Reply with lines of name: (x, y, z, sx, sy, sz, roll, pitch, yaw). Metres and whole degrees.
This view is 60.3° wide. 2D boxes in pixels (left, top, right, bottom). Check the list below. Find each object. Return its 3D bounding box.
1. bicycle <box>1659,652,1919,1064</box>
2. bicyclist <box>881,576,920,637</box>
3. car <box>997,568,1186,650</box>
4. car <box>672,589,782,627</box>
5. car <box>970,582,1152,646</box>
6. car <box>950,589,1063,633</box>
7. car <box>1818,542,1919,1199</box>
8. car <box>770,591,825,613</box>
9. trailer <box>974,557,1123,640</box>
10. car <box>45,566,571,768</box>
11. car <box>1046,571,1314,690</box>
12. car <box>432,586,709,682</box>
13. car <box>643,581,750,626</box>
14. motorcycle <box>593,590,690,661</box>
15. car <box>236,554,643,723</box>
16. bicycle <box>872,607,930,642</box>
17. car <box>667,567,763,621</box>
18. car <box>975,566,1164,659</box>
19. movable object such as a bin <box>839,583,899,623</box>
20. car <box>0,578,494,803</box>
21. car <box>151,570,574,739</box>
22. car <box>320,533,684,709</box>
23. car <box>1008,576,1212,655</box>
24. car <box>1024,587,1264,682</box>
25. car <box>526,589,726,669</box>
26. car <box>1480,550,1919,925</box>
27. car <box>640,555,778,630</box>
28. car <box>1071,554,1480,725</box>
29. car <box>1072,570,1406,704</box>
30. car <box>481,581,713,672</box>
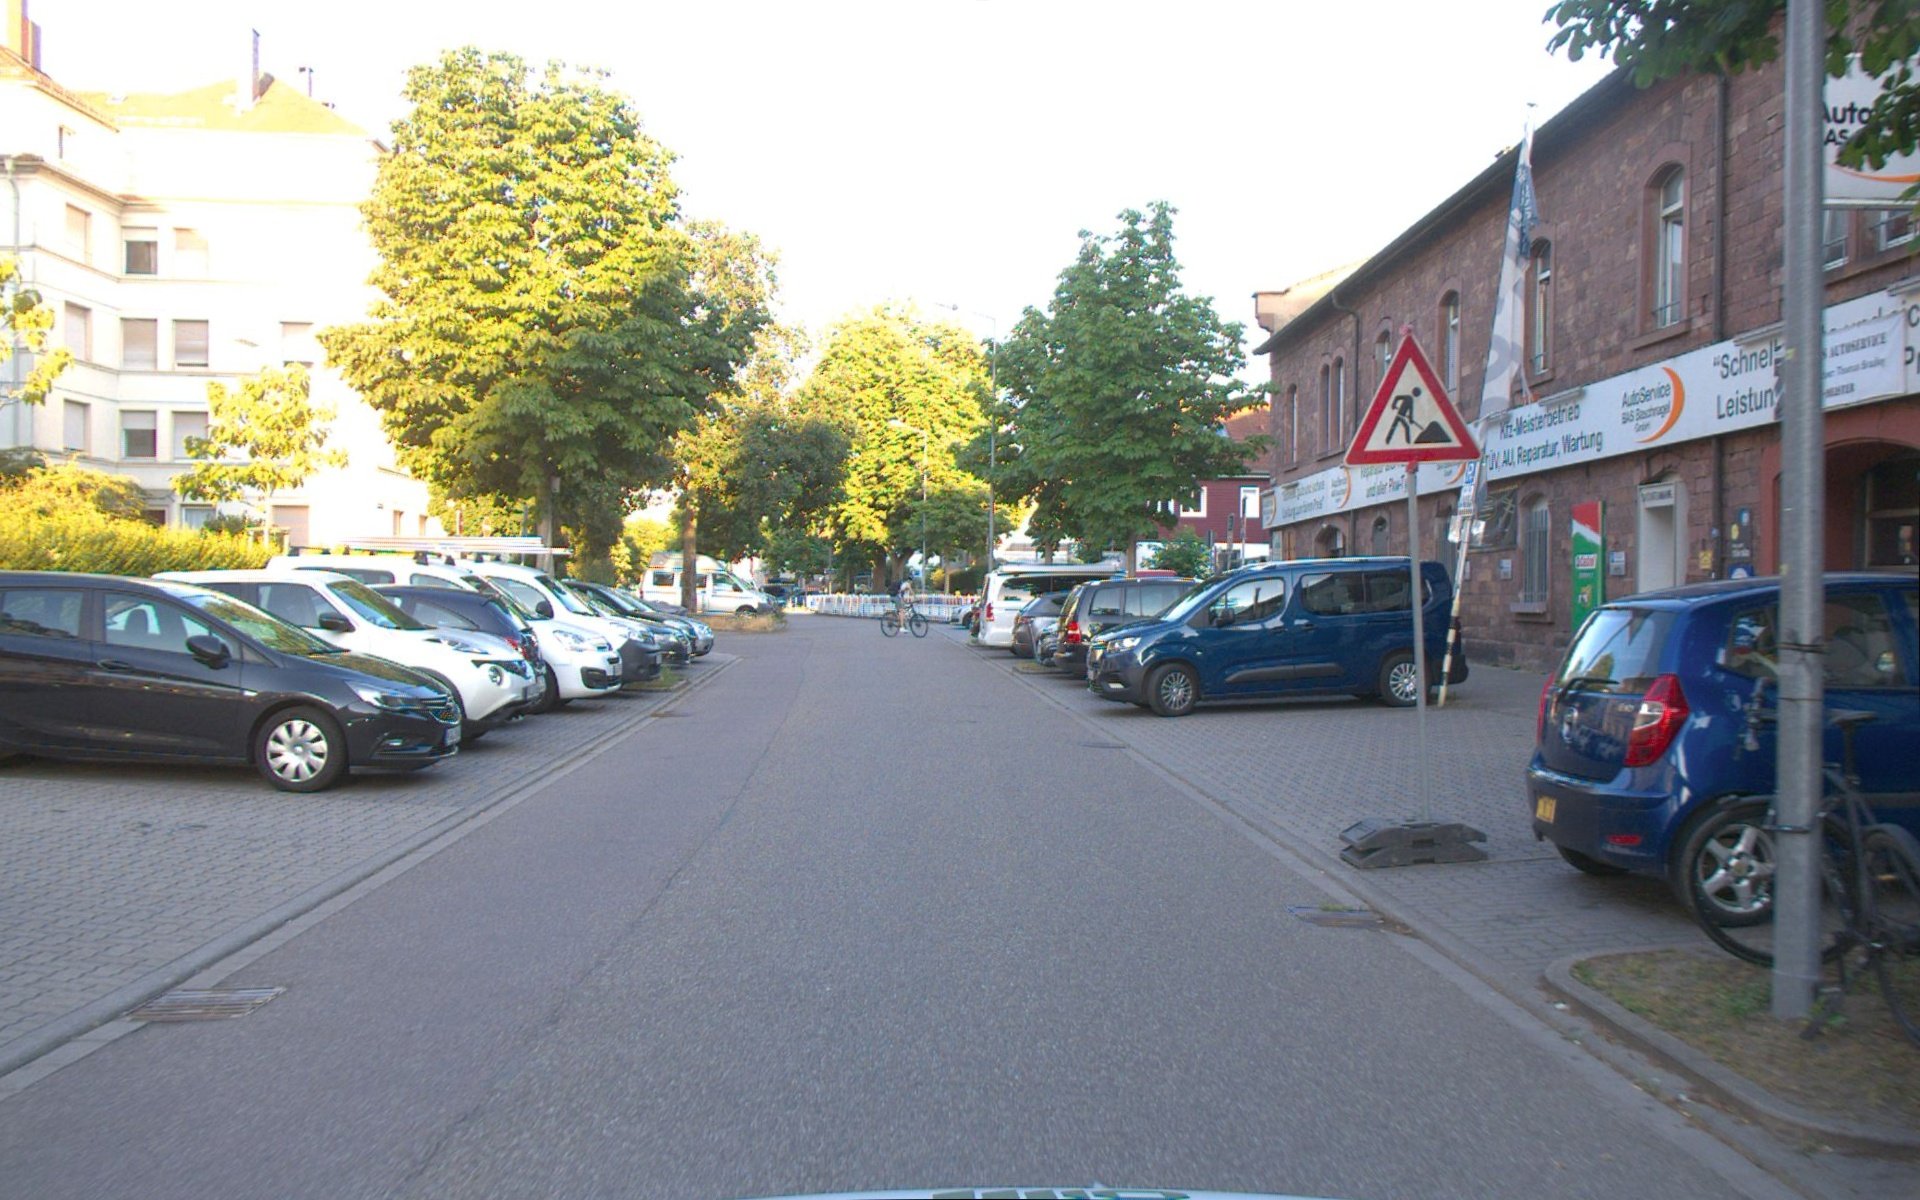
bicycle: (3.075, 0.823, 5.950, 0.302, 1.213, 1.761, 0, 0, -3)
bicyclist: (-1.743, 0.186, 48.635, 0.831, 1.756, 0.790, 1, 0, -38)
car: (3.039, 0.206, 38.810, 4.215, 1.831, 1.903, 0, 0, -3)
car: (-9.191, 0.304, 65.444, 4.161, 1.418, 1.682, 1, 0, -5)
car: (2.473, 0.343, 41.093, 4.339, 1.525, 1.772, 0, 0, -4)
car: (1.692, 0.368, 59.283, 3.902, 1.514, 1.815, 0, 0, 7)
car: (4.614, 0.553, 3.405, 4.599, 1.659, 2.000, -4, 0, 0)
car: (-12.763, 0.178, 129.881, 3.933, 1.680, 1.752, 0, 0, -23)
trailer: (2.410, -0.034, 45.710, 3.908, 2.226, 1.999, 0, 0, -3)
car: (-5.948, 0.582, 15.495, 4.158, 1.649, 1.812, 2, 0, -2)
car: (3.458, 0.464, 26.468, 3.909, 1.647, 1.893, -3, 0, -4)
car: (-6.548, 0.559, 28.173, 4.239, 1.430, 1.851, 2, 0, -1)
car: (-11.654, 0.159, 73.059, 4.589, 1.906, 1.995, 0, 0, -11)
motorcycle: (-6.694, 0.537, 34.833, 1.948, 1.461, 0.720, 0, 0, -8)
car: (-6.281, 0.446, 20.353, 4.331, 1.833, 1.943, 2, 0, -1)
bicycle: (-1.726, 0.724, 48.672, 1.845, 1.015, 0.369, 0, 0, -38)
car: (-11.605, -0.282, 78.172, 4.421, 2.473, 1.995, 0, 0, -10)
car: (2.347, 0.270, 36.293, 3.908, 1.937, 1.998, 0, 0, -4)
movable object such as a bin: (-5.726, 0.195, 103.783, 2.587, 2.445, 5.172, 0, 0, -17)
car: (-6.043, 0.642, 12.828, 4.322, 1.477, 1.826, 3, 0, -4)
car: (-6.397, 0.566, 18.052, 3.908, 1.510, 1.754, 4, 0, -4)
car: (-6.297, 0.260, 23.114, 4.420, 2.106, 2.000, 3, 1, 0)
car: (2.994, 0.314, 33.495, 3.908, 1.536, 1.775, 0, 0, -3)
car: (3.169, 0.595, 28.928, 3.870, 1.592, 1.818, 0, 0, -7)
car: (-6.603, 0.568, 32.995, 3.638, 1.532, 1.689, 0, 0, -1)
car: (4.925, 0.542, 8.398, 3.907, 1.572, 1.844, -4, 0, -2)
car: (-8.937, -0.253, 59.129, 4.636, 2.614, 1.999, 0, 0, -2)
car: (3.906, 0.453, 21.021, 4.692, 1.784, 2.016, -3, 1, -4)
car: (3.927, 0.486, 23.759, 4.328, 1.602, 1.980, -3, 1, -4)
car: (-6.649, 0.472, 30.615, 3.906, 1.611, 1.728, 0, 0, -1)
